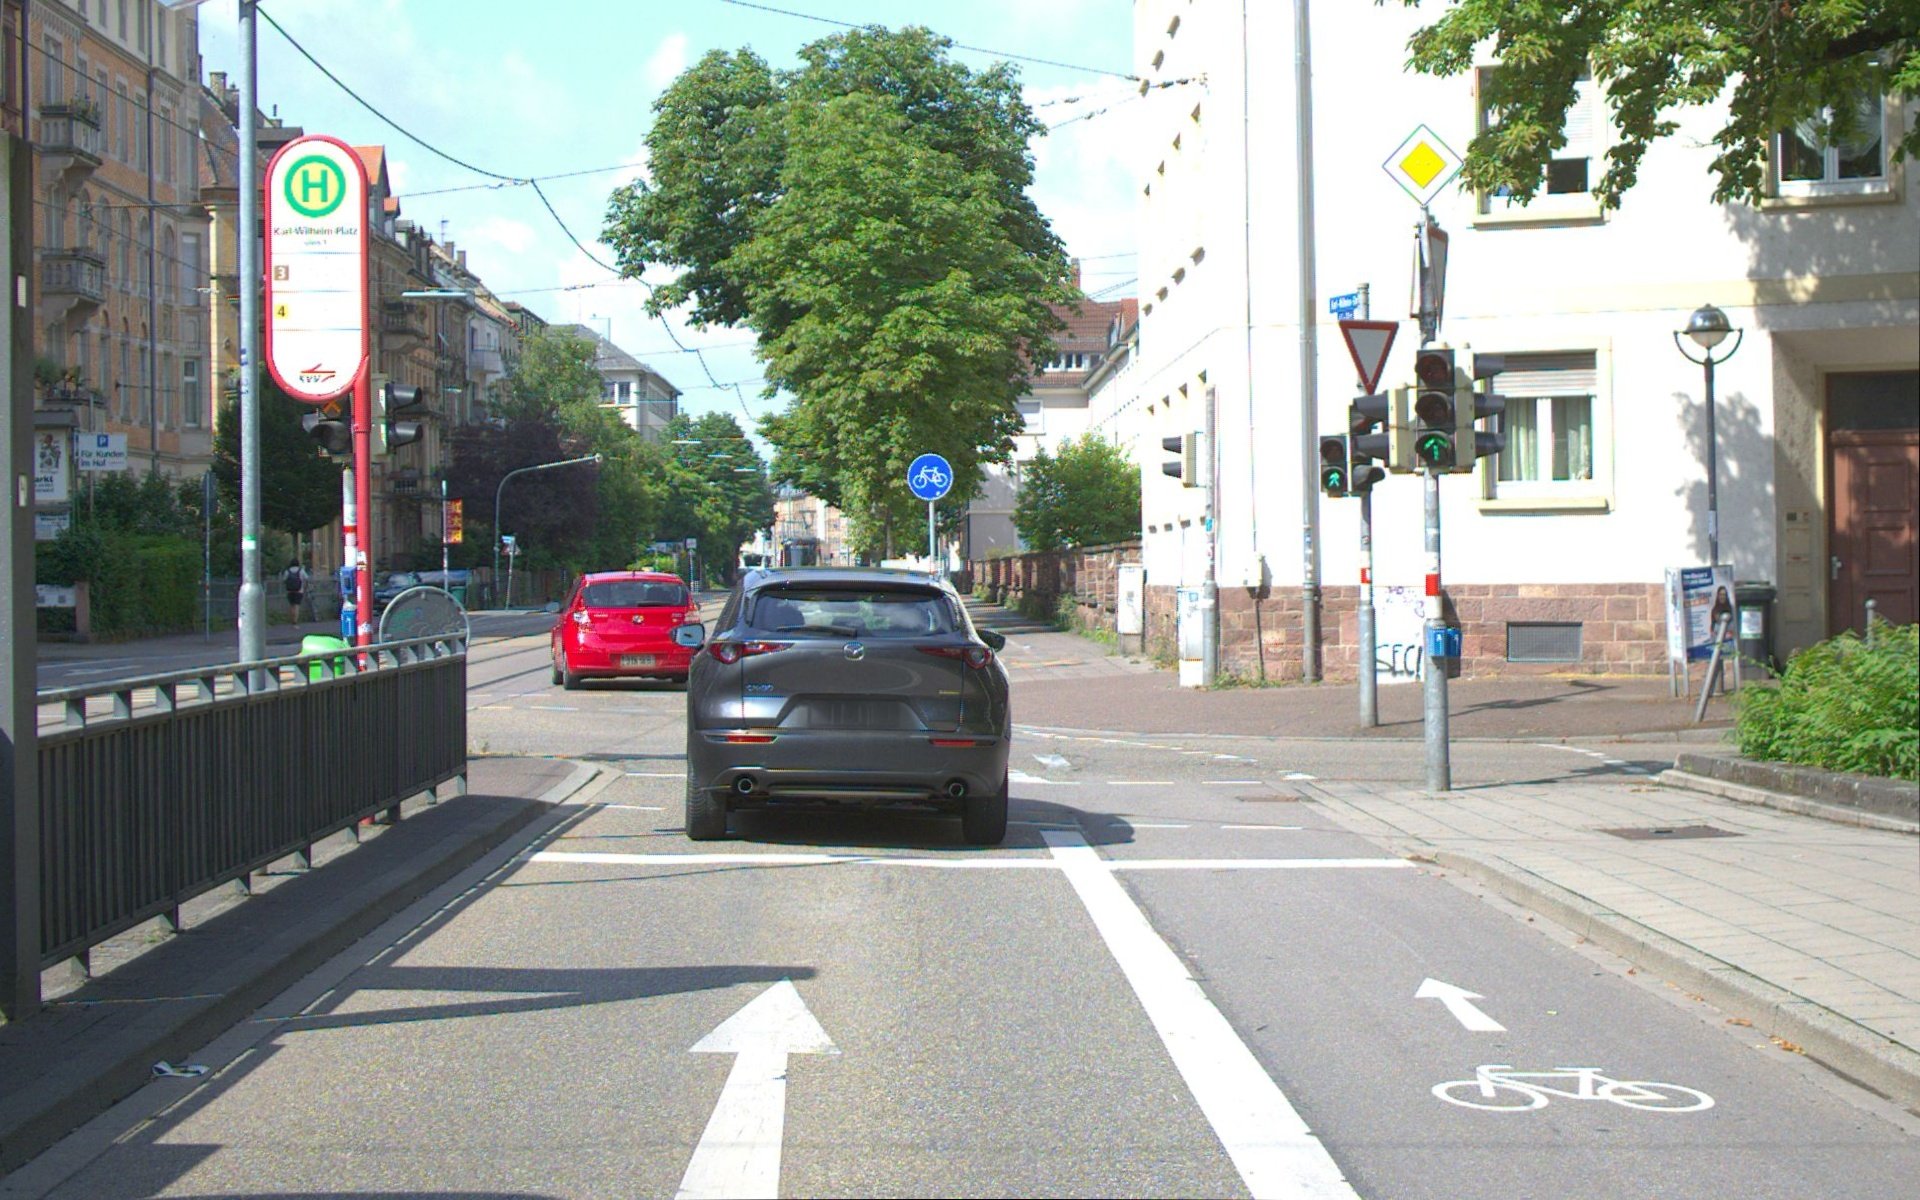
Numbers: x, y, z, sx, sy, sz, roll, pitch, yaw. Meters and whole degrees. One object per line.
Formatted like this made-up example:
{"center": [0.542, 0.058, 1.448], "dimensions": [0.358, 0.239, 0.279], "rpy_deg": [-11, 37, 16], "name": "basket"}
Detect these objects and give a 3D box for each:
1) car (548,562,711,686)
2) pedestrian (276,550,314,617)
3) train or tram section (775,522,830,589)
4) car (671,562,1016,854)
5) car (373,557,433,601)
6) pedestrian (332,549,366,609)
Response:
{"center": [-4.229, 0.275, 43.507], "dimensions": [1.775, 1.459, 3.843], "rpy_deg": [1, 1, -9], "name": "car"}
{"center": [-16.789, -0.412, 86.781], "dimensions": [0.788, 1.682, 0.732], "rpy_deg": [-1, 1, 1], "name": "pedestrian"}
{"center": [-9.814, -2.731, 215.361], "dimensions": [2.997, 3.970, 13.809], "rpy_deg": [-1, 0, -1], "name": "train or tram section"}
{"center": [-0.781, 0.555, 20.243], "dimensions": [1.782, 1.509, 4.001], "rpy_deg": [2, 0, -5], "name": "car"}
{"center": [-20.621, -0.789, 127.455], "dimensions": [1.657, 1.590, 3.930], "rpy_deg": [-1, 1, -1], "name": "car"}
{"center": [-17.216, -0.585, 96.850], "dimensions": [0.788, 1.682, 0.732], "rpy_deg": [-1, 1, 1], "name": "pedestrian"}
